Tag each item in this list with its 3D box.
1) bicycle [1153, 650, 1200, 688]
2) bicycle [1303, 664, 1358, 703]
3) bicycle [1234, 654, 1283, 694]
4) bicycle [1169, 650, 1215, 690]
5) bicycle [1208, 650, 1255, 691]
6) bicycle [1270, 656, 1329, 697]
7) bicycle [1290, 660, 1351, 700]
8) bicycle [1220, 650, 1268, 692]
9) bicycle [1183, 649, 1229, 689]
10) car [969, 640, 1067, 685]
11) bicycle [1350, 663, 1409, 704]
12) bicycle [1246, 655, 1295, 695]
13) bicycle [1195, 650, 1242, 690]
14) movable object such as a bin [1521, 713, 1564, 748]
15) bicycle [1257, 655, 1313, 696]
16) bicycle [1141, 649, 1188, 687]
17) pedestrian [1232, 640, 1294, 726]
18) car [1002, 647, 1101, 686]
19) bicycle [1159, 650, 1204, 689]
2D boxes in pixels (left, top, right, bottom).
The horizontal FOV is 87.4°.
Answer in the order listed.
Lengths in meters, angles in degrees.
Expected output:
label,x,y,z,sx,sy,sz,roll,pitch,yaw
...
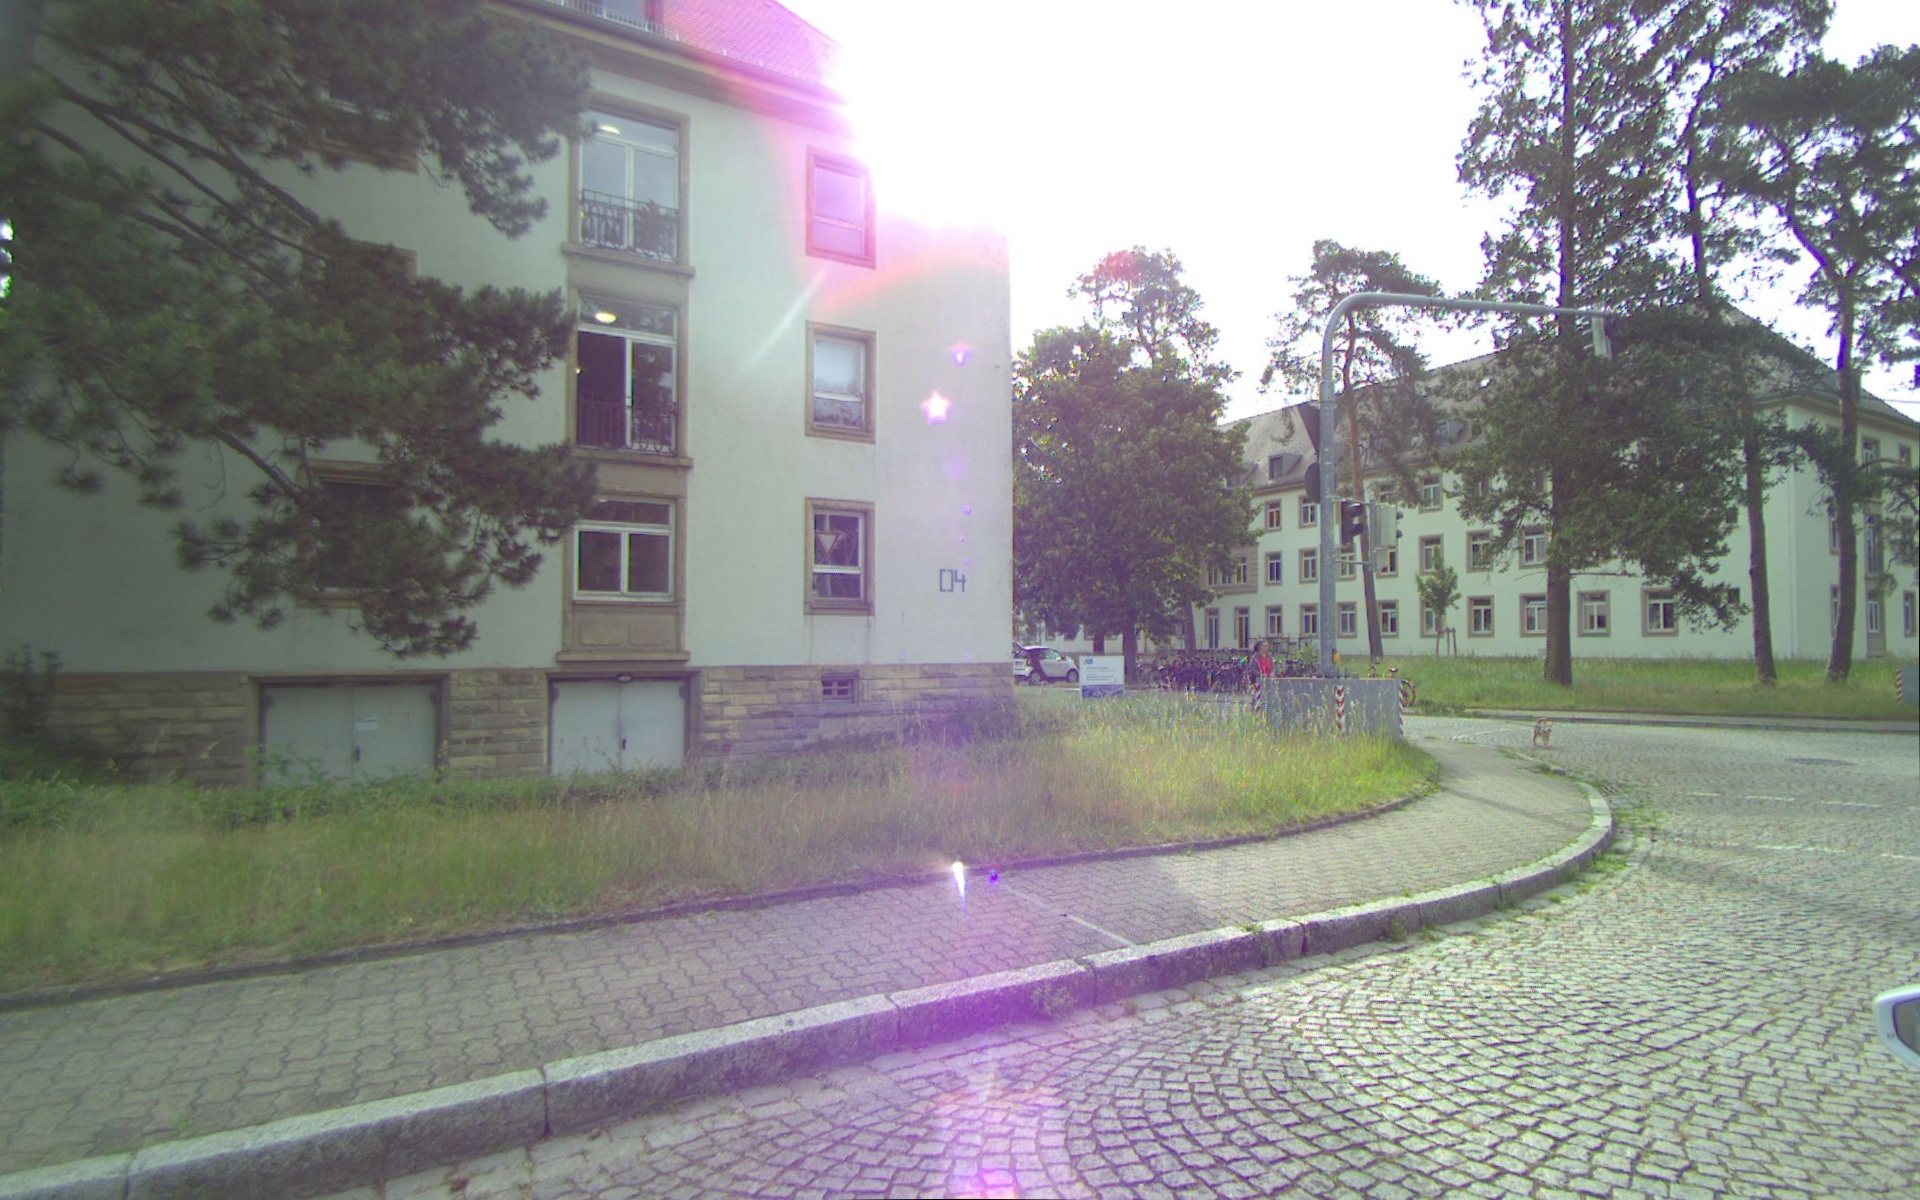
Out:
label,x,y,z,sx,sy,sz,roll,pitch,yaw
bicycle,7.486,2.365,34.727,1.765,1.300,0.440,2,-3,-32
bicycle,10.046,2.250,27.259,0.447,1.009,1.453,1,-3,-28
bicycle,9.291,2.291,31.249,1.677,1.193,0.447,2,-3,-32
bicycle,7.802,2.342,33.801,1.677,1.300,0.447,2,-3,-32
bicycle,8.744,2.261,32.340,1.677,1.300,0.447,2,-3,-32
bicycle,10.117,2.265,29.903,1.932,1.193,0.572,2,-3,-32
bicycle,10.524,2.321,29.338,1.974,1.092,0.572,2,-3,-32
bicycle,9.029,2.253,31.924,1.677,1.300,0.447,2,-3,-32
bicycle,8.154,2.277,33.240,1.677,1.300,0.447,2,-3,-32
car,2.593,2.773,45.043,4.087,1.932,1.831,1,-3,-30
bicycle,10.820,2.131,25.950,0.447,1.009,1.453,1,-3,-28
bicycle,9.549,2.296,30.838,1.677,1.193,0.447,2,-3,-32
bicycle,8.452,2.268,32.764,1.677,1.300,0.447,2,-3,-32
movable object such as a bin,9.303,2.077,16.064,0.436,0.510,0.752,-1,-4,18
bicycle,9.851,2.276,30.424,1.909,1.193,0.525,2,-3,-32
bicycle,7.144,2.369,35.060,1.807,1.300,0.447,2,-3,-32
pedestrian,6.103,1.663,20.266,0.922,1.690,0.862,0,-2,-5
car,3.868,2.758,42.418,3.851,1.576,1.831,2,-3,-30
bicycle,7.551,2.350,34.217,1.677,1.300,0.447,2,-3,-32
